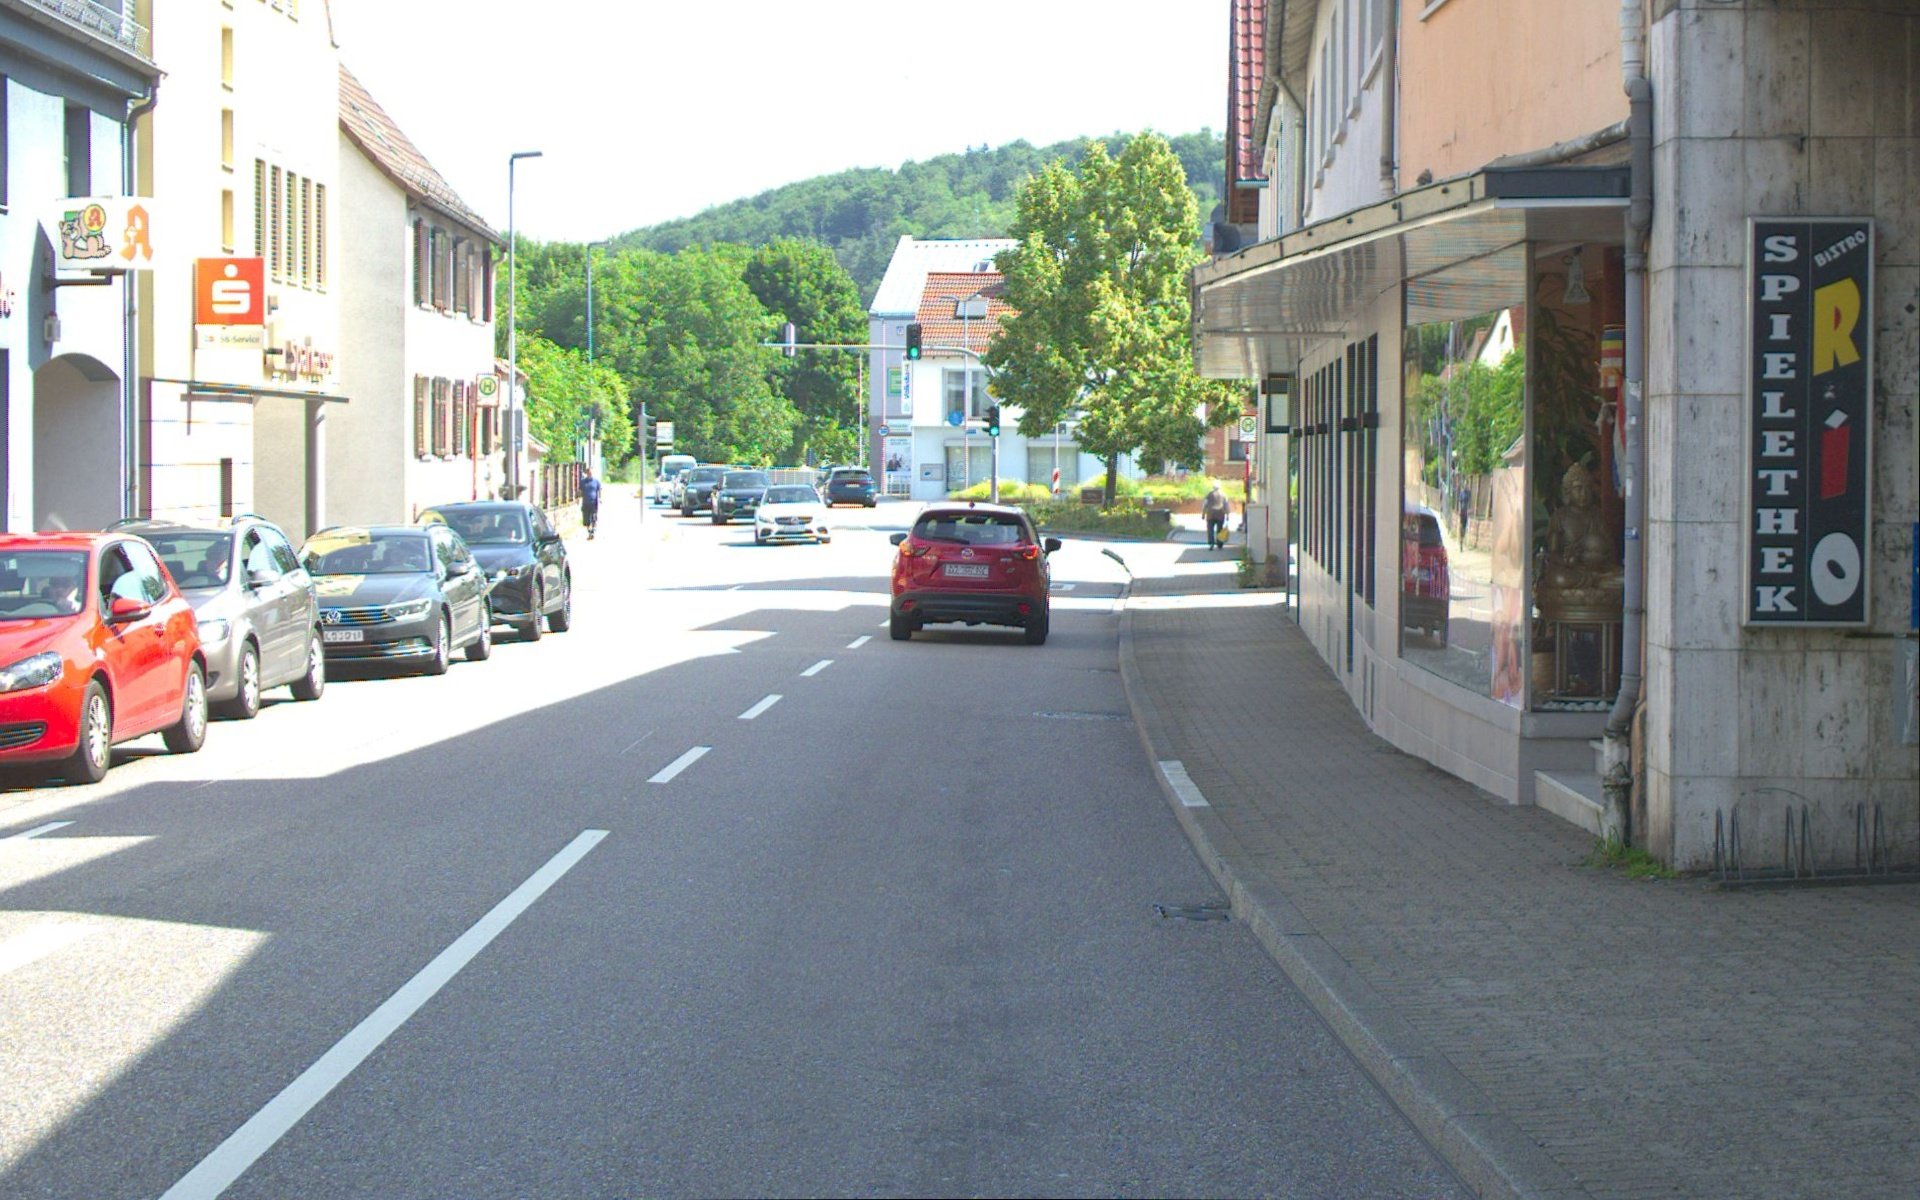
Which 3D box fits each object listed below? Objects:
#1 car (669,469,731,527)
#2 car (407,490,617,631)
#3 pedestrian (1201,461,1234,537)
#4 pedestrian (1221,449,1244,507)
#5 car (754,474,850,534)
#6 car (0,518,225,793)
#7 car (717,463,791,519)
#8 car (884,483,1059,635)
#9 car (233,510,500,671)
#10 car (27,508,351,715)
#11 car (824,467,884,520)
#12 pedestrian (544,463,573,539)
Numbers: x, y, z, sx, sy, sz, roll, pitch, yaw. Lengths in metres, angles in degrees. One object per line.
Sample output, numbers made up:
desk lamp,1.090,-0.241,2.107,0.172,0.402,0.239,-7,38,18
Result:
car,-8.665,-3.392,114.873,1.774,1.778,3.839,-1,0,0
car,-5.408,-0.523,42.015,1.867,1.584,4.518,-1,2,1
pedestrian,5.861,-2.295,78.395,0.642,1.701,0.700,0,0,-4
pedestrian,8.908,-3.980,112.323,0.642,1.872,0.652,0,0,-4
car,-3.911,-2.395,85.617,1.987,1.439,5.101,-1,2,2
car,-5.827,0.275,21.055,1.758,1.487,4.077,-1,2,0
car,-6.230,-3.322,104.253,1.839,1.527,4.253,0,4,2
car,0.192,-0.537,41.621,1.859,1.709,4.422,1,2,3
car,-5.815,-0.145,34.167,1.789,1.445,4.424,-1,2,1
car,-6.165,0.035,27.903,1.629,1.515,4.020,-1,2,1
car,-3.874,-3.882,125.945,1.932,1.788,3.956,-1,0,2
pedestrian,-9.694,-2.385,83.019,0.665,1.818,0.799,0,0,-4
